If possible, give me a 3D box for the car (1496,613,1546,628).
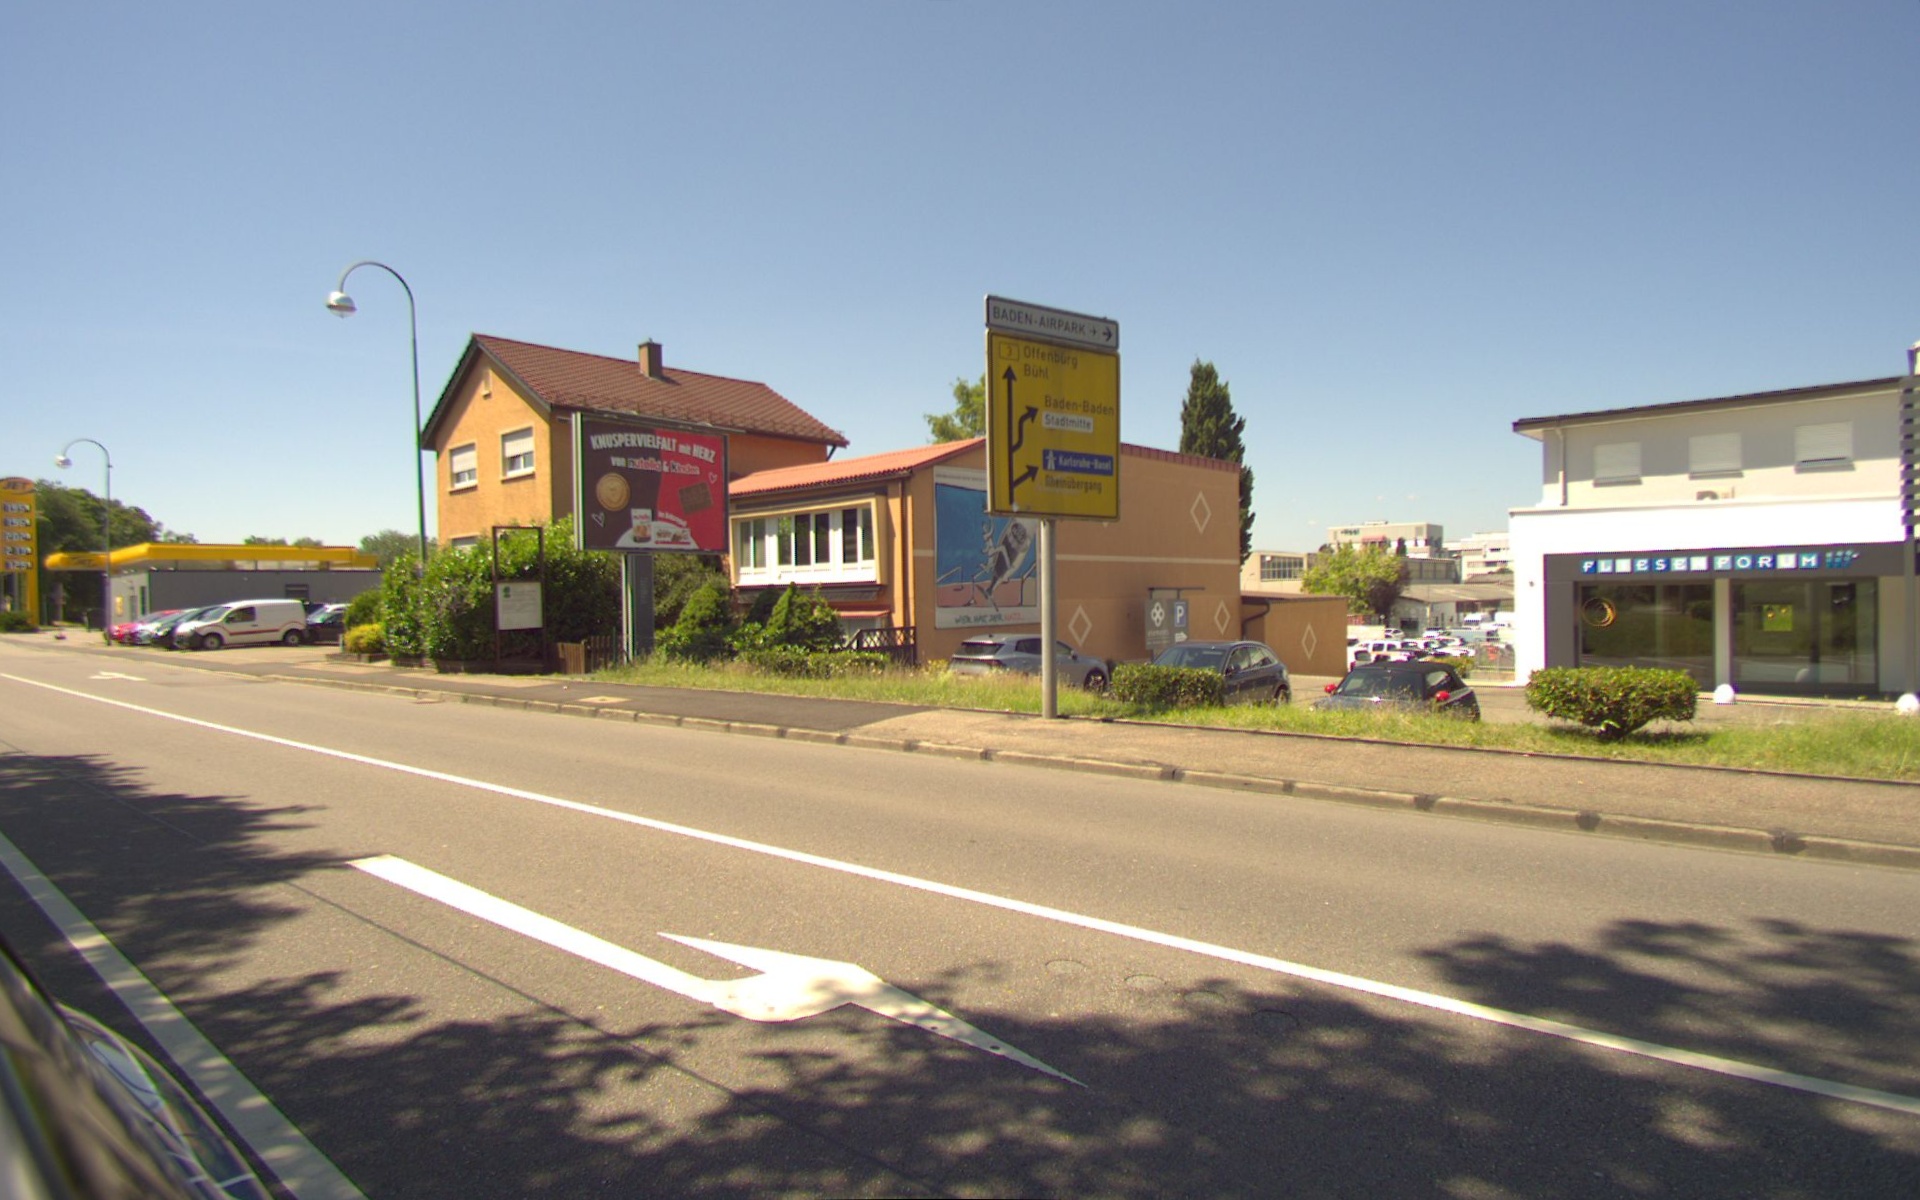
[{"bbox_3d":[71.818,2.628,129.626,5.303,1.768,2.037,-1,-1,44],"label":"car"}]

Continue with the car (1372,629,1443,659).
[{"bbox_3d":[28.300,2.748,64.043,3.774,1.768,1.707,-1,-1,44],"label":"car"}]

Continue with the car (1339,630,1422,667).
[{"bbox_3d":[24.248,2.759,58.434,4.001,2.029,1.971,-1,-1,44],"label":"car"}]

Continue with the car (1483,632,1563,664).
[{"bbox_3d":[32.979,2.776,59.319,3.774,1.768,1.707,-1,-1,44],"label":"car"}]

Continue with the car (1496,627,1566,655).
[{"bbox_3d":[38.049,2.705,67.483,3.774,1.768,1.707,-1,-1,44],"label":"car"}]

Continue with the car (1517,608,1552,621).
[{"bbox_3d":[76.997,1.957,135.757,3.774,1.768,1.707,-1,-1,44],"label":"car"}]

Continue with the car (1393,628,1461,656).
[{"bbox_3d":[31.109,2.779,67.427,3.774,1.768,1.707,-1,-1,44],"label":"car"}]

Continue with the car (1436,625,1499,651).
[{"bbox_3d":[36.593,2.726,73.017,3.774,1.768,1.707,-1,-1,44],"label":"car"}]

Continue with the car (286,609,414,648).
[{"bbox_3d":[-26.132,1.196,43.476,1.871,1.575,4.351,-1,-1,35],"label":"car"}]

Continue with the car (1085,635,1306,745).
[{"bbox_3d":[4.398,1.523,18.480,4.462,1.654,1.772,0,-1,-44],"label":"car"}]

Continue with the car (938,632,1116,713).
[{"bbox_3d":[1.643,1.616,23.699,4.165,1.621,1.773,0,-1,-42],"label":"car"}]

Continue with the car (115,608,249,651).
[{"bbox_3d":[-34.263,1.263,44.667,1.871,1.773,4.351,-1,-1,35],"label":"car"}]

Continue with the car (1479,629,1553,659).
[{"bbox_3d":[34.956,2.750,63.718,3.774,1.768,1.707,-1,-1,44],"label":"car"}]

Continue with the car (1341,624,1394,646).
[{"bbox_3d":[34.054,2.941,84.652,3.774,1.768,1.707,-1,-1,44],"label":"car"}]

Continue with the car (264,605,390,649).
[{"bbox_3d":[-27.952,1.154,44.816,1.871,1.839,4.351,-1,-1,35],"label":"car"}]

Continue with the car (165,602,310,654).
[{"bbox_3d":[-27.559,1.026,38.710,1.871,1.883,4.143,-1,-1,35],"label":"car"}]

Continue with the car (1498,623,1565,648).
[{"bbox_3d":[42.688,2.640,75.588,4.055,1.768,1.707,-1,-1,44],"label":"car"}]

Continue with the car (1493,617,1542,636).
[{"bbox_3d":[53.061,2.521,96.318,3.774,1.768,1.707,-1,0,44],"label":"car"}]

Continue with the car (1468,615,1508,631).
[{"bbox_3d":[61.527,2.646,117.879,3.774,1.768,1.707,-1,1,44],"label":"car"}]

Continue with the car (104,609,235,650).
[{"bbox_3d":[-35.748,1.288,45.893,1.871,1.773,4.351,-1,-1,35],"label":"car"}]

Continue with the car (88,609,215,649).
[{"bbox_3d":[-37.898,1.321,47.545,1.871,1.773,4.351,-1,-1,35],"label":"car"}]

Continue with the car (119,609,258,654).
[{"bbox_3d":[-32.653,1.287,42.969,1.871,1.773,4.351,-1,-1,35],"label":"car"}]

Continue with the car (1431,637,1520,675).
[{"bbox_3d":[26.664,2.862,52.441,3.774,1.768,1.707,-1,-1,44],"label":"car"}]

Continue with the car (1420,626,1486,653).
[{"bbox_3d":[34.449,2.750,70.762,3.774,1.768,1.707,-1,-1,44],"label":"car"}]

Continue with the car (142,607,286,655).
[{"bbox_3d":[-29.324,1.179,39.901,1.871,1.773,4.198,-1,-1,35],"label":"car"}]

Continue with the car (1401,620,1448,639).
[{"bbox_3d":[44.711,2.813,97.514,3.774,1.768,1.707,-1,0,44],"label":"car"}]

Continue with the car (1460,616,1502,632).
[{"bbox_3d":[57.978,2.642,112.681,3.774,1.768,1.707,-1,0,44],"label":"car"}]

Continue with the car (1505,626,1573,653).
[{"bbox_3d":[39.860,2.685,69.692,3.774,1.768,1.707,-1,-1,44],"label":"car"}]

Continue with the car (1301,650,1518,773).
[{"bbox_3d":[7.258,1.654,16.160,4.039,1.544,1.772,0,-1,-44],"label":"car"}]
